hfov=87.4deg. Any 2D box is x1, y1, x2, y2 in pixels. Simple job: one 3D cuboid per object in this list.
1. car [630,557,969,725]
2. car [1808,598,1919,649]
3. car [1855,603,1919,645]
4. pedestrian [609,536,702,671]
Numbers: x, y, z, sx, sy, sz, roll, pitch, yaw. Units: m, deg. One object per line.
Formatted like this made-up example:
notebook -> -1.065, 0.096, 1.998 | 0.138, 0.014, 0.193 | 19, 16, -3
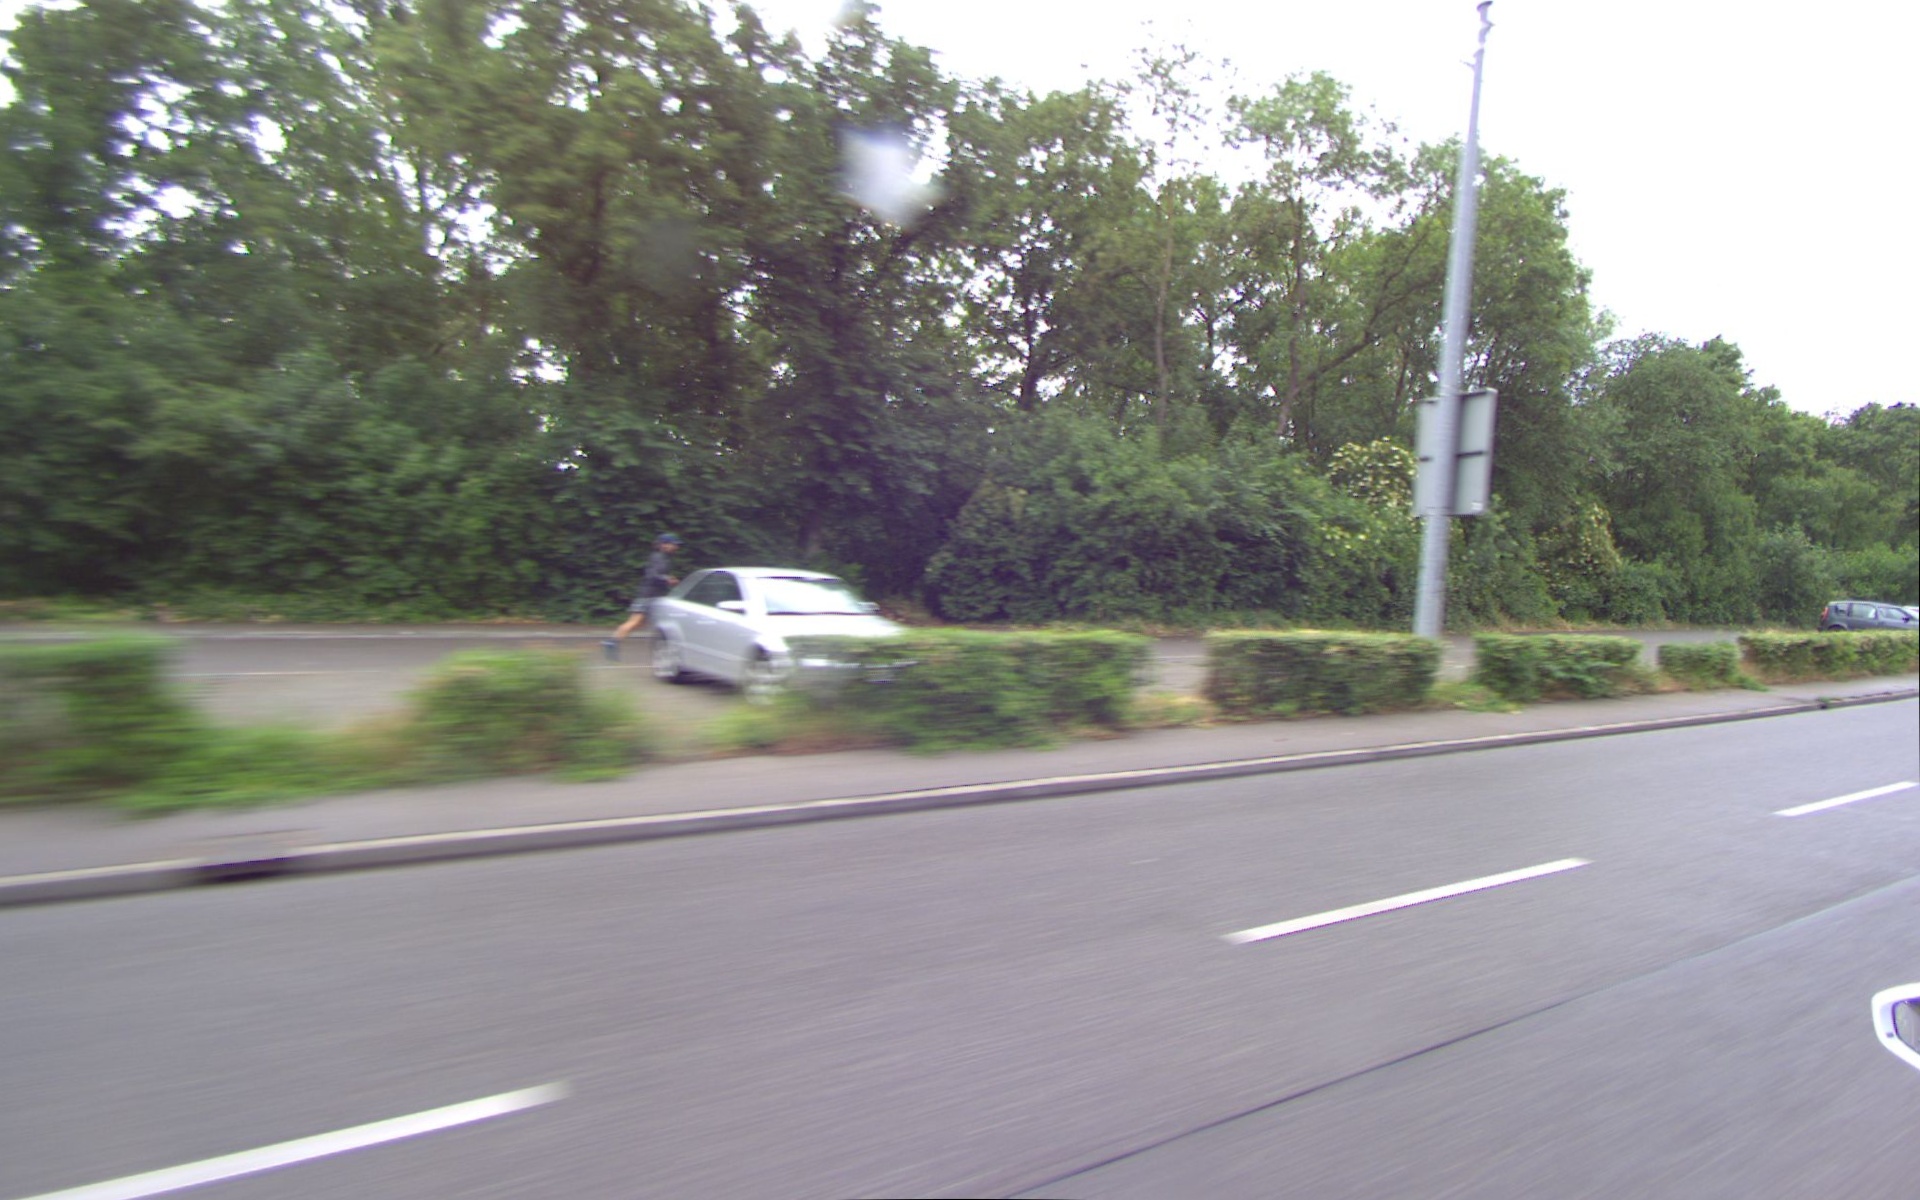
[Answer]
car -> -2.059, 0.308, 11.565 | 1.981, 1.526, 4.542 | 1, 2, -36
car -> 35.323, 0.885, 38.206 | 1.979, 1.731, 4.264 | 1, 2, -33
car -> 39.718, 1.018, 41.687 | 1.837, 1.613, 3.613 | 1, 2, -40
pedestrian -> -4.283, 0.052, 14.104 | 1.120, 1.822, 0.814 | 1, 1, -25
